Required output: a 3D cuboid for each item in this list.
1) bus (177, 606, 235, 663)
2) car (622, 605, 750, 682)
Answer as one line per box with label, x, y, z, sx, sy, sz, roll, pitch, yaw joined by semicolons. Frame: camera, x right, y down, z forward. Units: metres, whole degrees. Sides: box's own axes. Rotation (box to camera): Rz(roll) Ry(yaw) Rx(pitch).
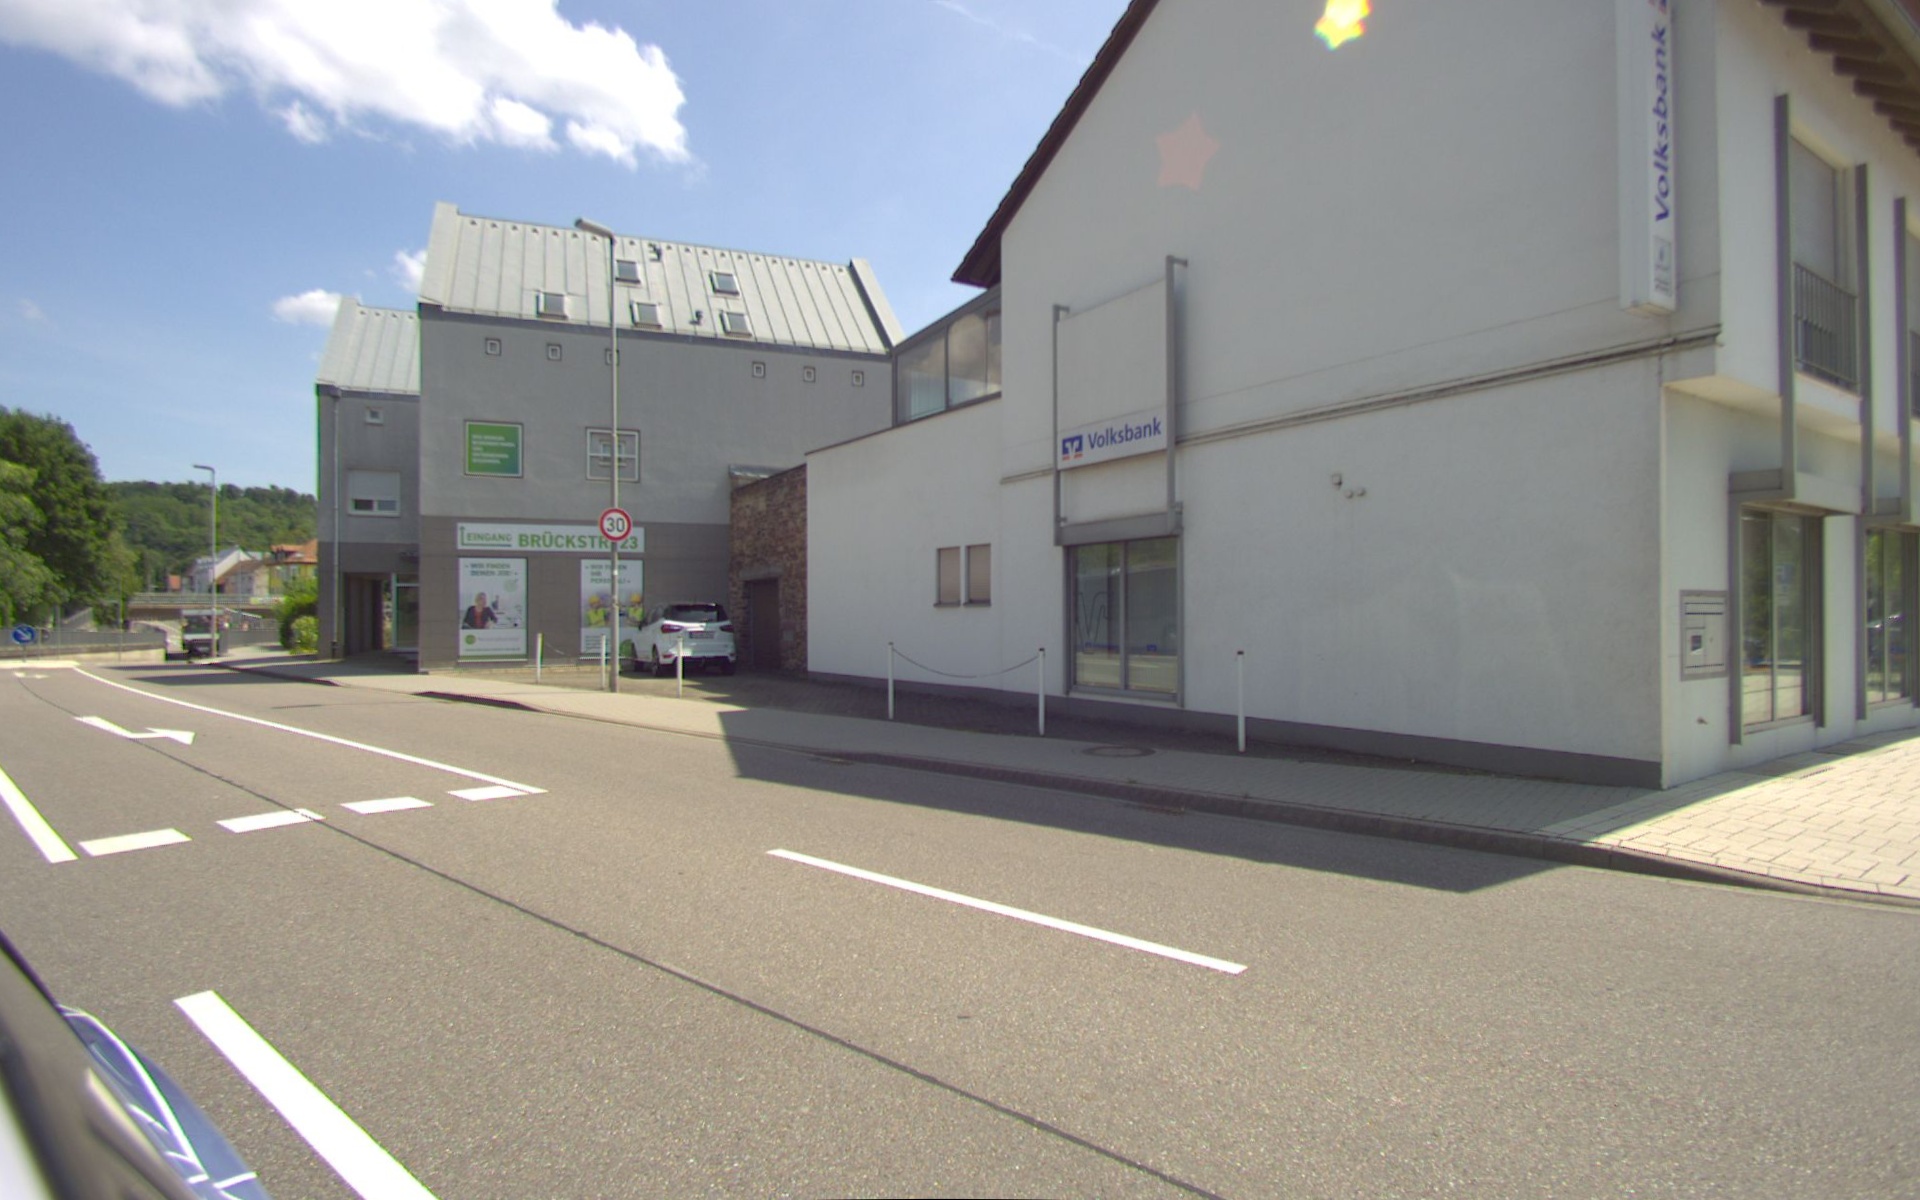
bus;-57.369;2.752;77.238;2.772;4.033;10.996;0;-3;-33
car;-6.388;0.975;23.241;1.965;1.587;4.266;1;-2;-27
